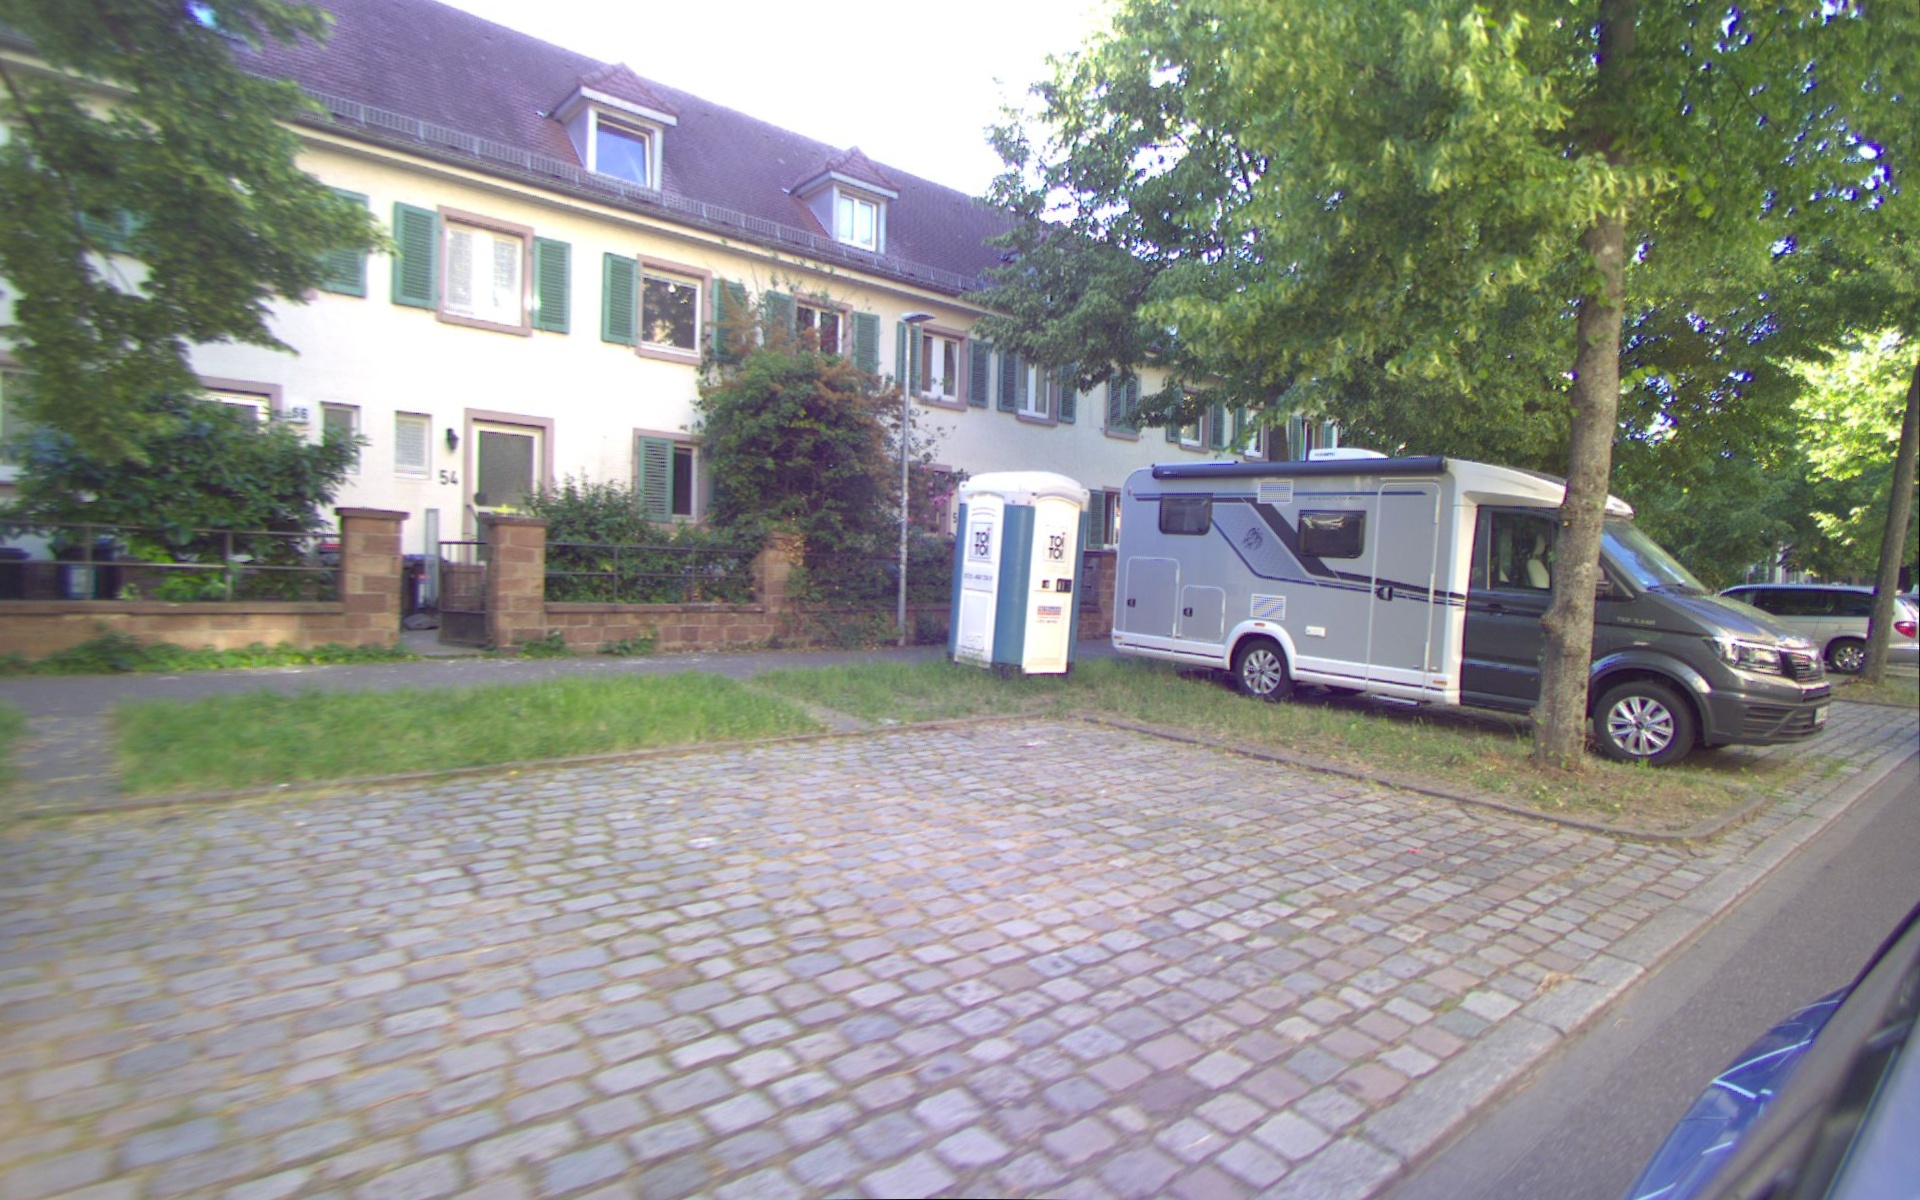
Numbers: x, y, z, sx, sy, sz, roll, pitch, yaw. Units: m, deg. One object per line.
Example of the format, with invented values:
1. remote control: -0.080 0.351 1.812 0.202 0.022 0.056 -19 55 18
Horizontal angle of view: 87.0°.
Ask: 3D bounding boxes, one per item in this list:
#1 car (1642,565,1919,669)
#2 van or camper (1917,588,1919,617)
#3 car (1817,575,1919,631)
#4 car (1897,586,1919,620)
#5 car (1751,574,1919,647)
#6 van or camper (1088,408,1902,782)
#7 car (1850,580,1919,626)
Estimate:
1. car: 17.276 0.270 21.122 1.800 1.730 4.633 1 4 -39
2. van or camper: 56.874 -0.043 55.743 2.124 2.546 5.734 0 5 -41
3. car: 32.681 0.168 34.751 1.872 1.697 4.597 1 5 -38
4. car: 46.895 0.331 46.933 1.862 1.557 4.848 0 5 -42
5. car: 24.910 0.292 27.985 4.543 1.652 1.784 8 5 44
6. van or camper: 4.853 -0.356 10.796 2.419 2.678 7.171 1 5 -38
7. car: 37.977 0.218 39.546 1.843 1.652 4.487 0 5 -41
